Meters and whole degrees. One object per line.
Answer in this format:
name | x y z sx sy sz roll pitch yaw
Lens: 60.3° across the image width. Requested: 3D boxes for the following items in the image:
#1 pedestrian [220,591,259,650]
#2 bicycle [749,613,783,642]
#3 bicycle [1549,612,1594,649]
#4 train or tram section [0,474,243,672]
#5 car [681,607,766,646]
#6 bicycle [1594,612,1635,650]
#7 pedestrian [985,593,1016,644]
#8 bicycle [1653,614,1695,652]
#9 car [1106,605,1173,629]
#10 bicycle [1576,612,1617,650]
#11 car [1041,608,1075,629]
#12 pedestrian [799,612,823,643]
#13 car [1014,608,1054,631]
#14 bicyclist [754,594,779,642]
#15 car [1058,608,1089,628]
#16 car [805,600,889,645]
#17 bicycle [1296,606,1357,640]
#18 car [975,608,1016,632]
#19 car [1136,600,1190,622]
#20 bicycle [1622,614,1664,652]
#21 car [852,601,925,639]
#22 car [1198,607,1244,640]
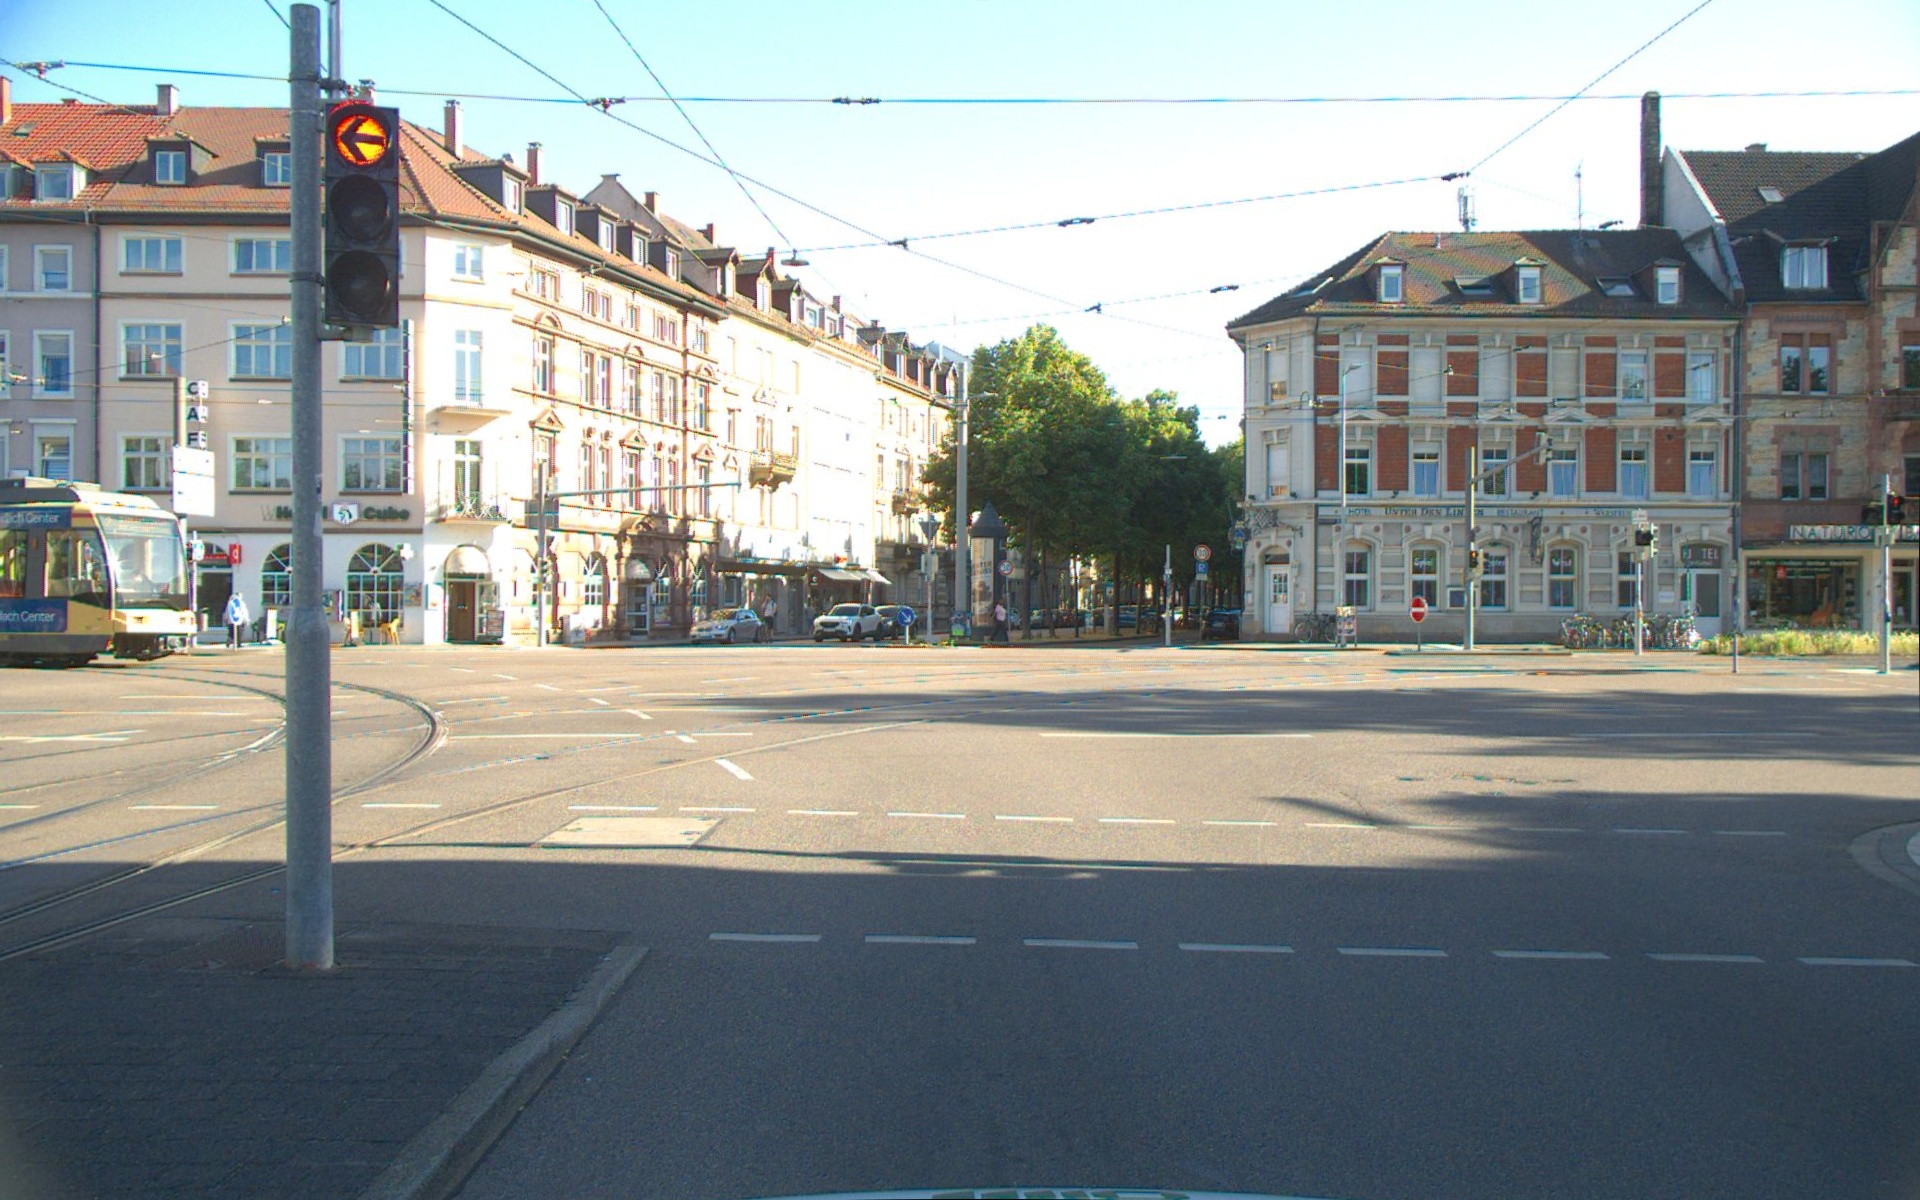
pedestrian | -22.283 0.621 51.145 0.990 1.806 0.937 0 0 -17
bicycle | -7.597 1.080 64.894 0.665 1.085 2.127 0 0 12
bicycle | 19.821 0.983 53.665 0.789 1.163 2.175 0 0 4
train or tram section | -18.175 -0.497 32.416 7.771 3.561 2.824 0 0 20
car | -9.527 1.034 66.904 1.858 1.481 4.002 0 0 17
bicycle | 21.165 0.988 53.516 0.605 1.163 2.175 0 0 4
pedestrian | 1.434 0.653 58.474 1.024 1.774 0.809 0 0 5
bicycle | 23.037 1.052 53.405 0.596 1.156 2.136 0 0 4
car | 12.547 1.192 115.669 4.290 1.640 1.998 0 0 26
bicycle | 20.593 0.993 53.546 0.605 1.163 2.175 0 0 4
car | 7.774 1.418 130.568 1.798 1.579 4.393 0 0 16
pedestrian | -7.659 1.426 84.887 0.908 1.562 1.138 0 0 13
car | 5.522 1.421 122.744 1.951 1.640 4.393 0 0 17
bicyclist | -7.586 0.692 64.936 0.664 1.852 1.071 0 0 12
car | 9.386 1.457 136.470 1.727 1.576 4.394 0 0 16
car | -4.544 0.882 67.258 1.951 1.713 4.393 0 0 17
bicycle | 12.750 0.814 57.589 2.045 1.144 0.366 1 -1 -5
car | 2.408 1.322 110.996 1.951 1.512 4.003 0 0 13
car | 16.412 0.879 133.879 3.912 1.736 1.996 0 0 30
bicycle | 22.072 1.049 53.457 0.605 1.163 2.175 0 0 4
car | -3.150 0.859 73.793 1.951 1.640 4.393 0 0 17
car | 13.067 1.155 82.640 1.951 1.613 4.003 0 0 13
